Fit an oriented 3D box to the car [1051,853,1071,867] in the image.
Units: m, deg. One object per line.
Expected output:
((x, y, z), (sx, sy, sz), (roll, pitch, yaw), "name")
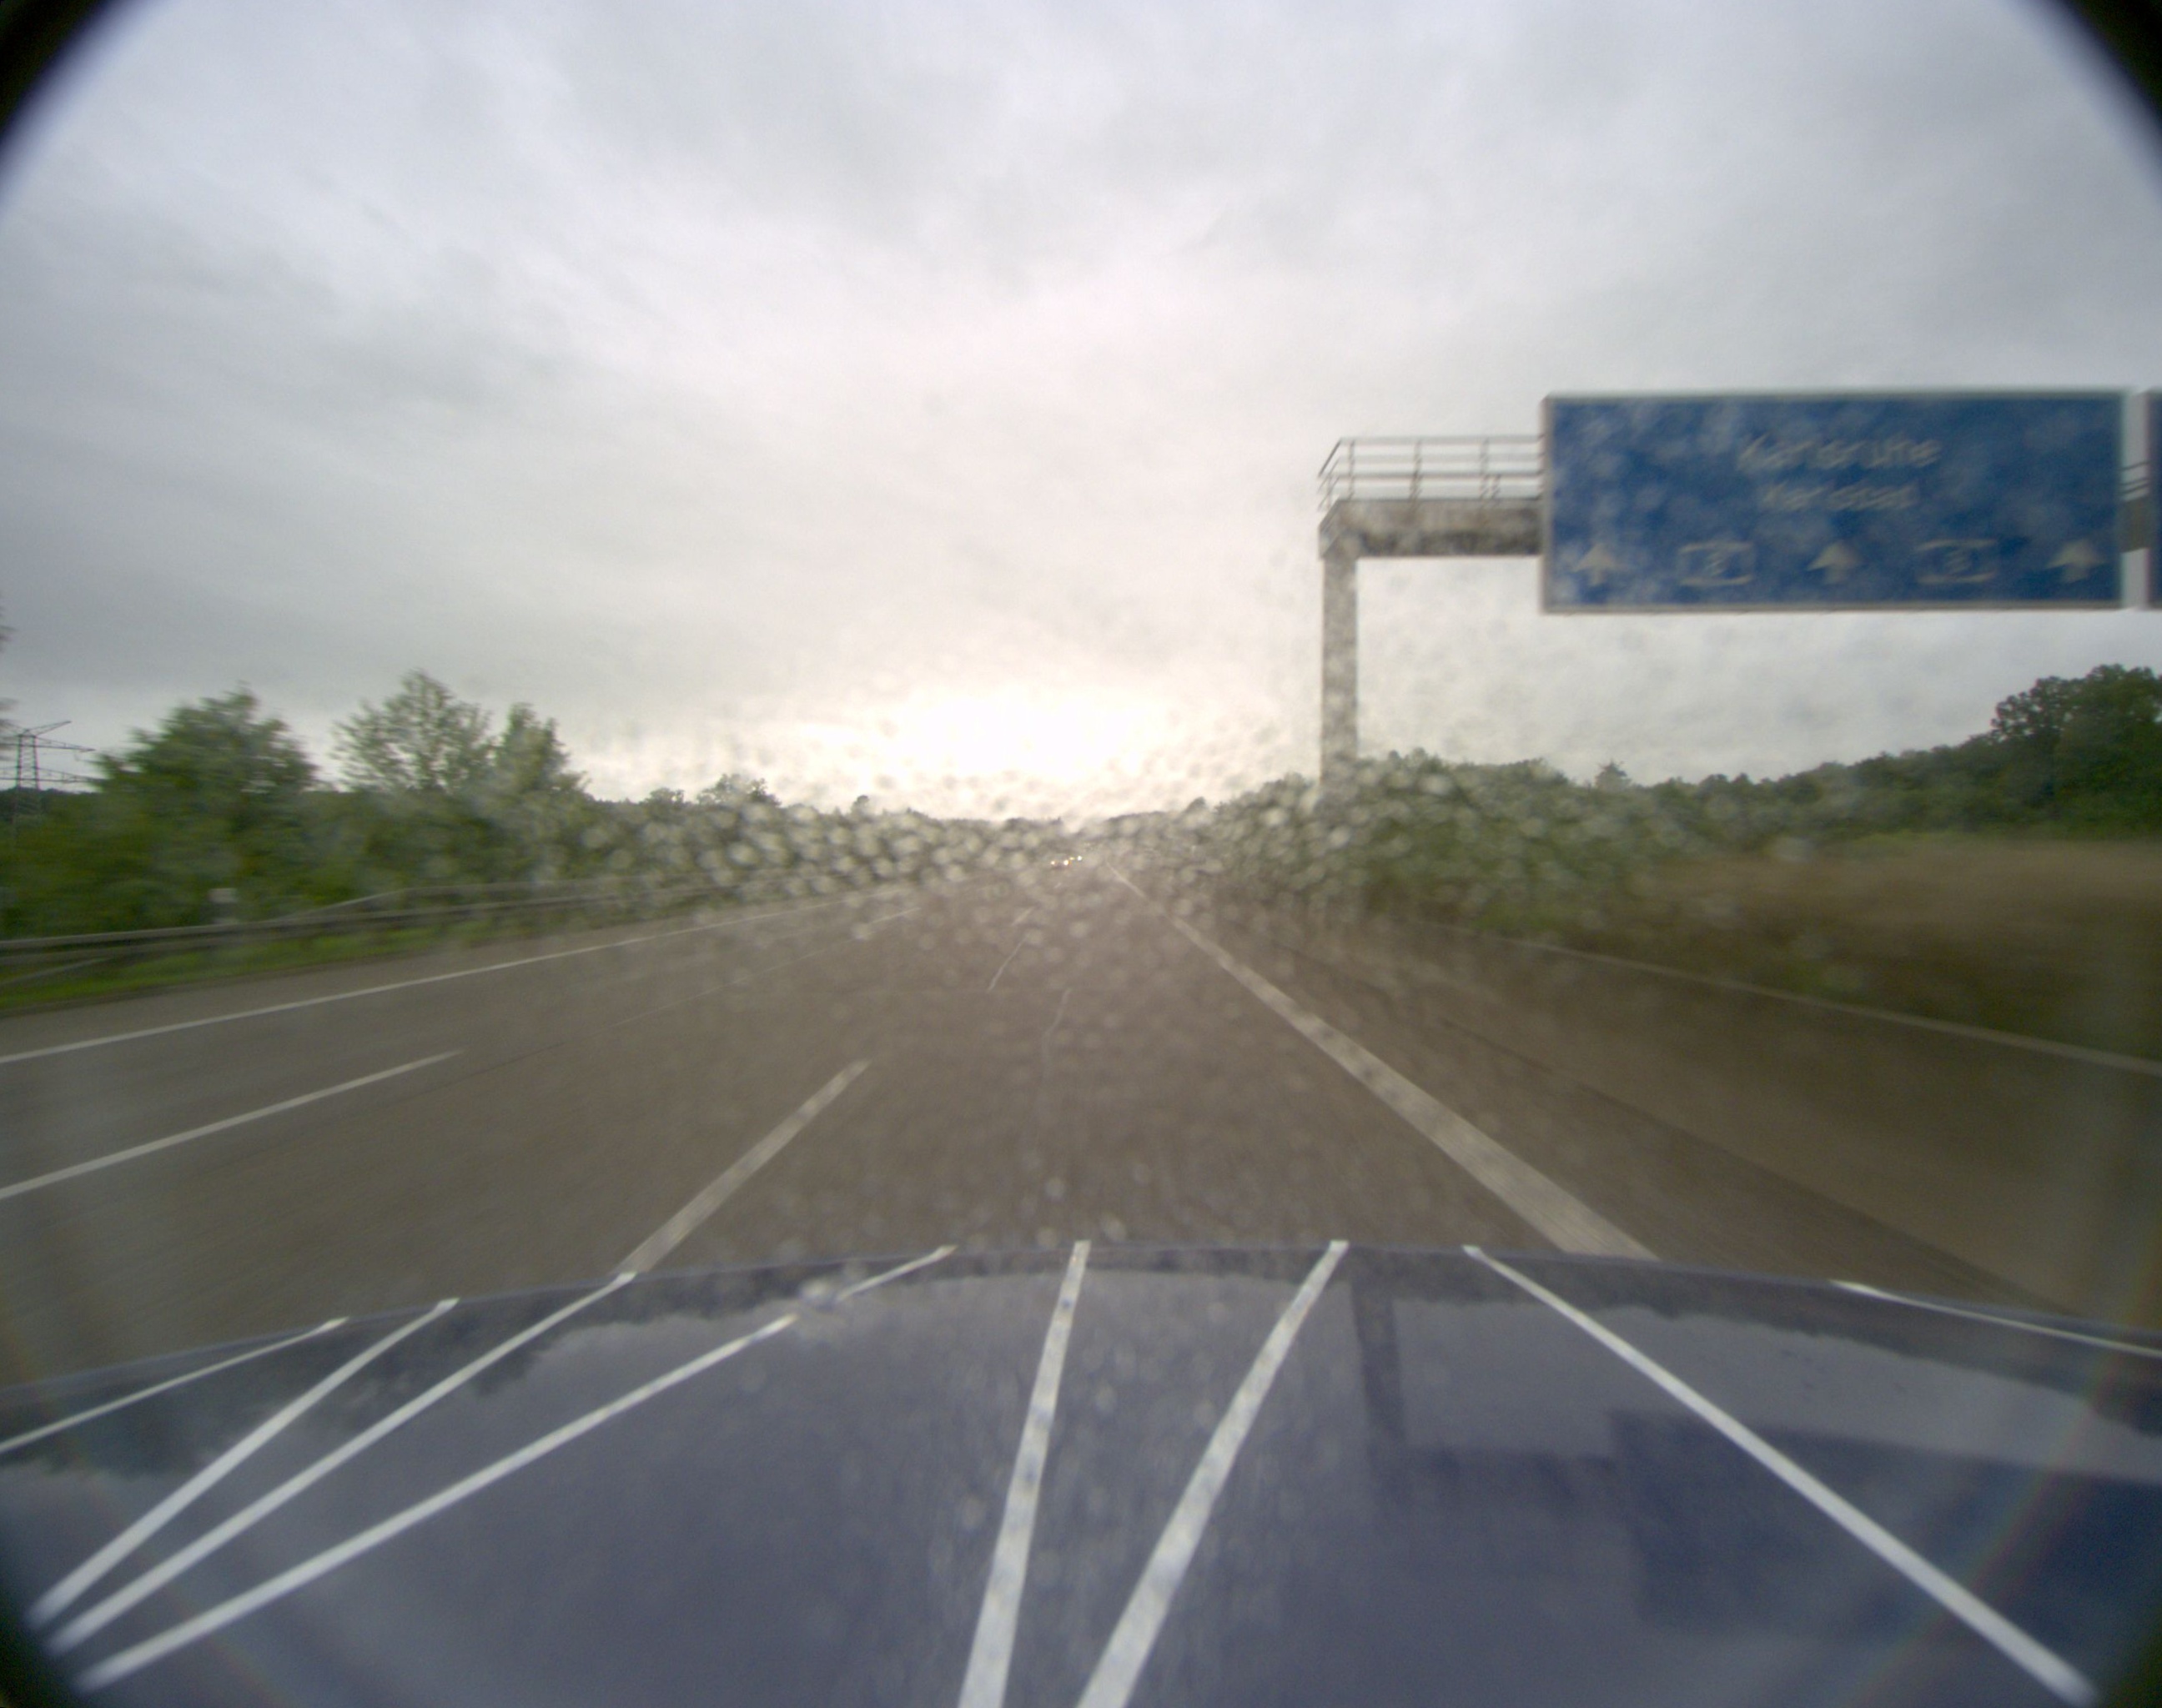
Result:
((-2.087, 0.636, 82.002), (1.932, 1.521, 4.298), (0, 0, 1), "car")

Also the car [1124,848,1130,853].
((14.561, -1.185, 241.064), (1.638, 1.404, 4.367), (-1, 0, 3), "car")

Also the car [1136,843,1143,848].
((19.316, -2.699, 251.188), (1.998, 1.678, 4.916), (0, 1, 1), "car")

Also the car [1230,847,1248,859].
((21.158, -0.118, 101.930), (1.719, 1.576, 4.145), (-1, 0, 1), "car")

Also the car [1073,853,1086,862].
((-0.193, 0.580, 137.739), (2.008, 1.456, 4.000), (0, 1, 4), "car")

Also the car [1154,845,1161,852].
((20.707, -1.548, 205.700), (1.746, 1.893, 4.530), (0, 1, 1), "car")

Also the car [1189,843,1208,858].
((18.123, -0.565, 117.436), (1.998, 2.155, 6.416), (-1, 0, 1), "car")

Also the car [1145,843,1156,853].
((16.533, -1.436, 179.969), (2.282, 2.317, 6.176), (1, 0, 3), "car")
